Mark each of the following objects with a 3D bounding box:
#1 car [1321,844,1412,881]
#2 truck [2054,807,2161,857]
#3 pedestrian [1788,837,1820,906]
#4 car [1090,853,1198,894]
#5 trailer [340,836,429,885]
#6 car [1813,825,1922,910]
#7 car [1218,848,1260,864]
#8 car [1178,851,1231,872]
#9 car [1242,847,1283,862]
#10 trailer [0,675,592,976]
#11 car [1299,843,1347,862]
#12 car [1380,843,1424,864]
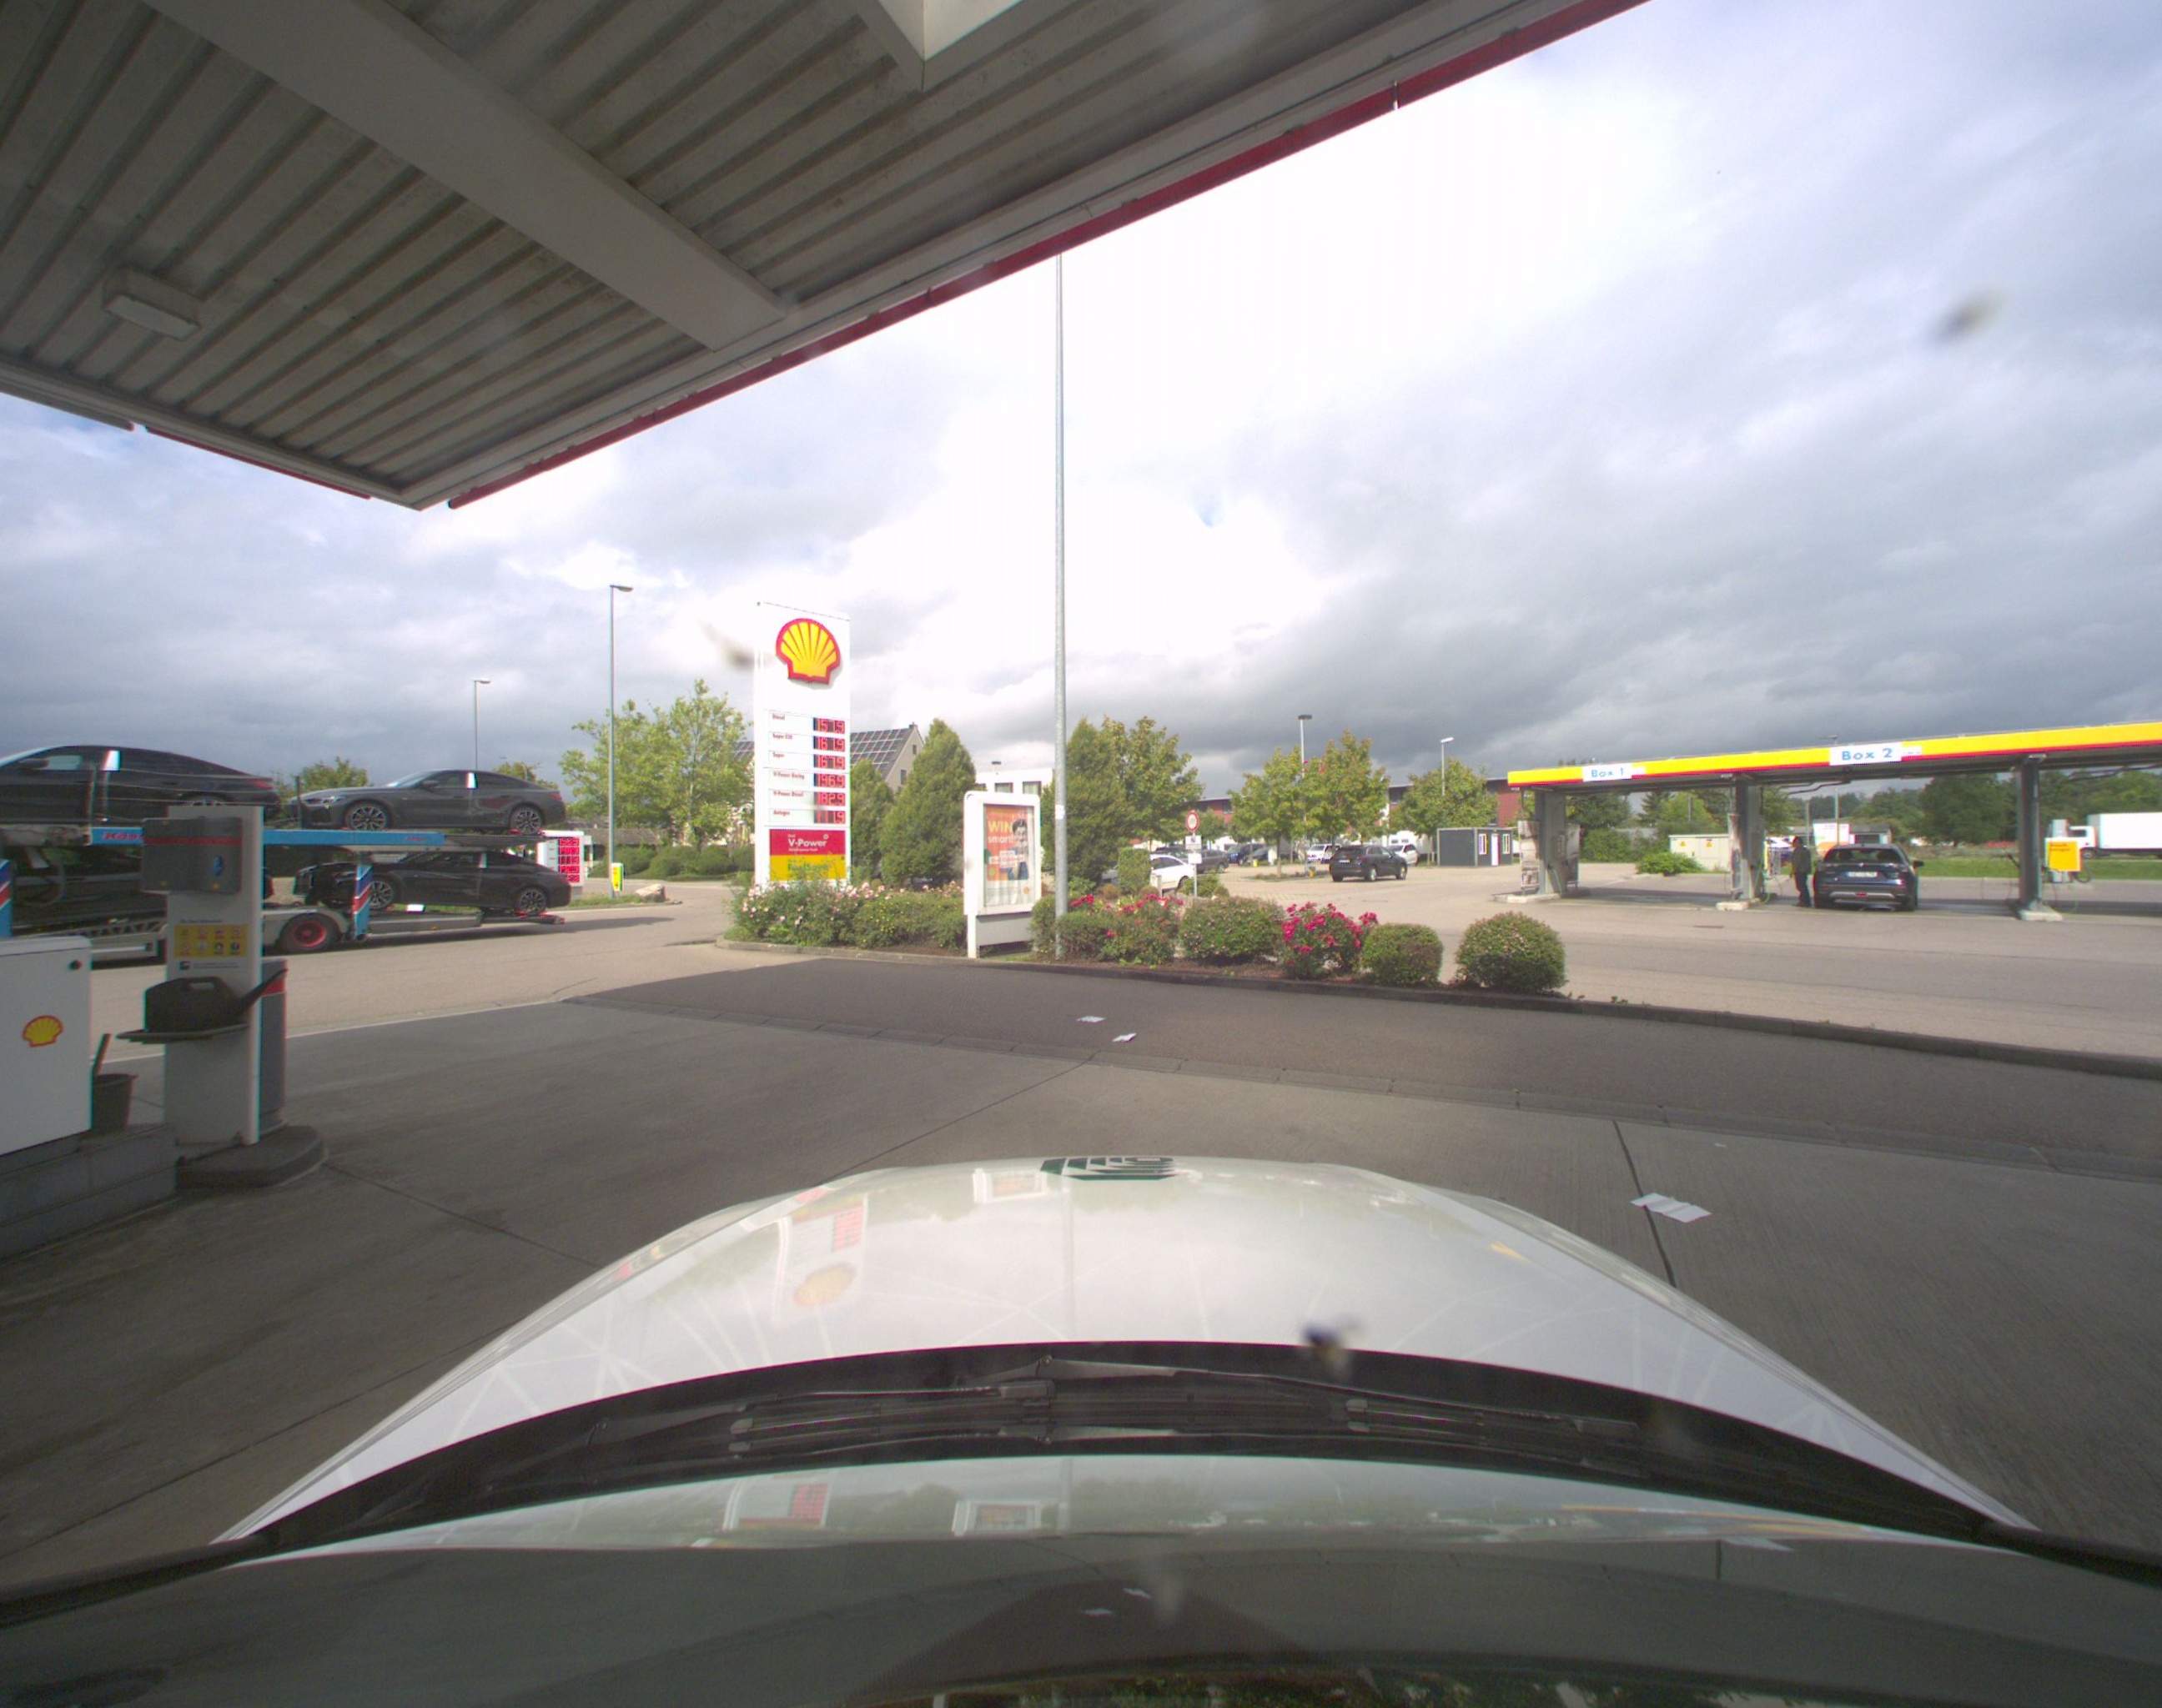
[{"bbox_3d":[12.879,0.373,36.588,4.527,1.548,1.864,0,-1,-41],"label":"car"},{"bbox_3d":[78.233,-1.585,60.016,7.989,3.534,2.714,-1,-1,41],"label":"truck"},{"bbox_3d":[18.249,0.436,20.578,0.551,1.722,0.531,-1,-1,38],"label":"pedestrian"},{"bbox_3d":[2.397,0.686,30.029,4.368,1.404,1.354,0,-1,-42],"label":"car"},{"bbox_3d":[-58.036,0.575,67.702,12.548,3.776,2.757,-1,-1,36],"label":"trailer"},{"bbox_3d":[19.441,0.312,20.083,3.828,1.897,1.703,0,-1,-43],"label":"car"},{"bbox_3d":[12.953,0.180,66.668,3.407,1.320,1.726,0,-1,-42],"label":"car"},{"bbox_3d":[7.543,0.449,49.714,3.245,1.228,1.488,0,-1,-42],"label":"car"},{"bbox_3d":[14.496,0.032,64.884,3.437,1.179,1.468,0,-1,-42],"label":"car"},{"bbox_3d":[-16.432,-0.403,13.693,2.711,4.423,14.450,-1,-1,31],"label":"trailer"},{"bbox_3d":[23.877,-0.128,80.277,4.903,1.833,2.159,0,-1,-41],"label":"car"},{"bbox_3d":[20.610,-0.051,52.224,3.120,1.307,1.352,0,-1,-42],"label":"car"}]
